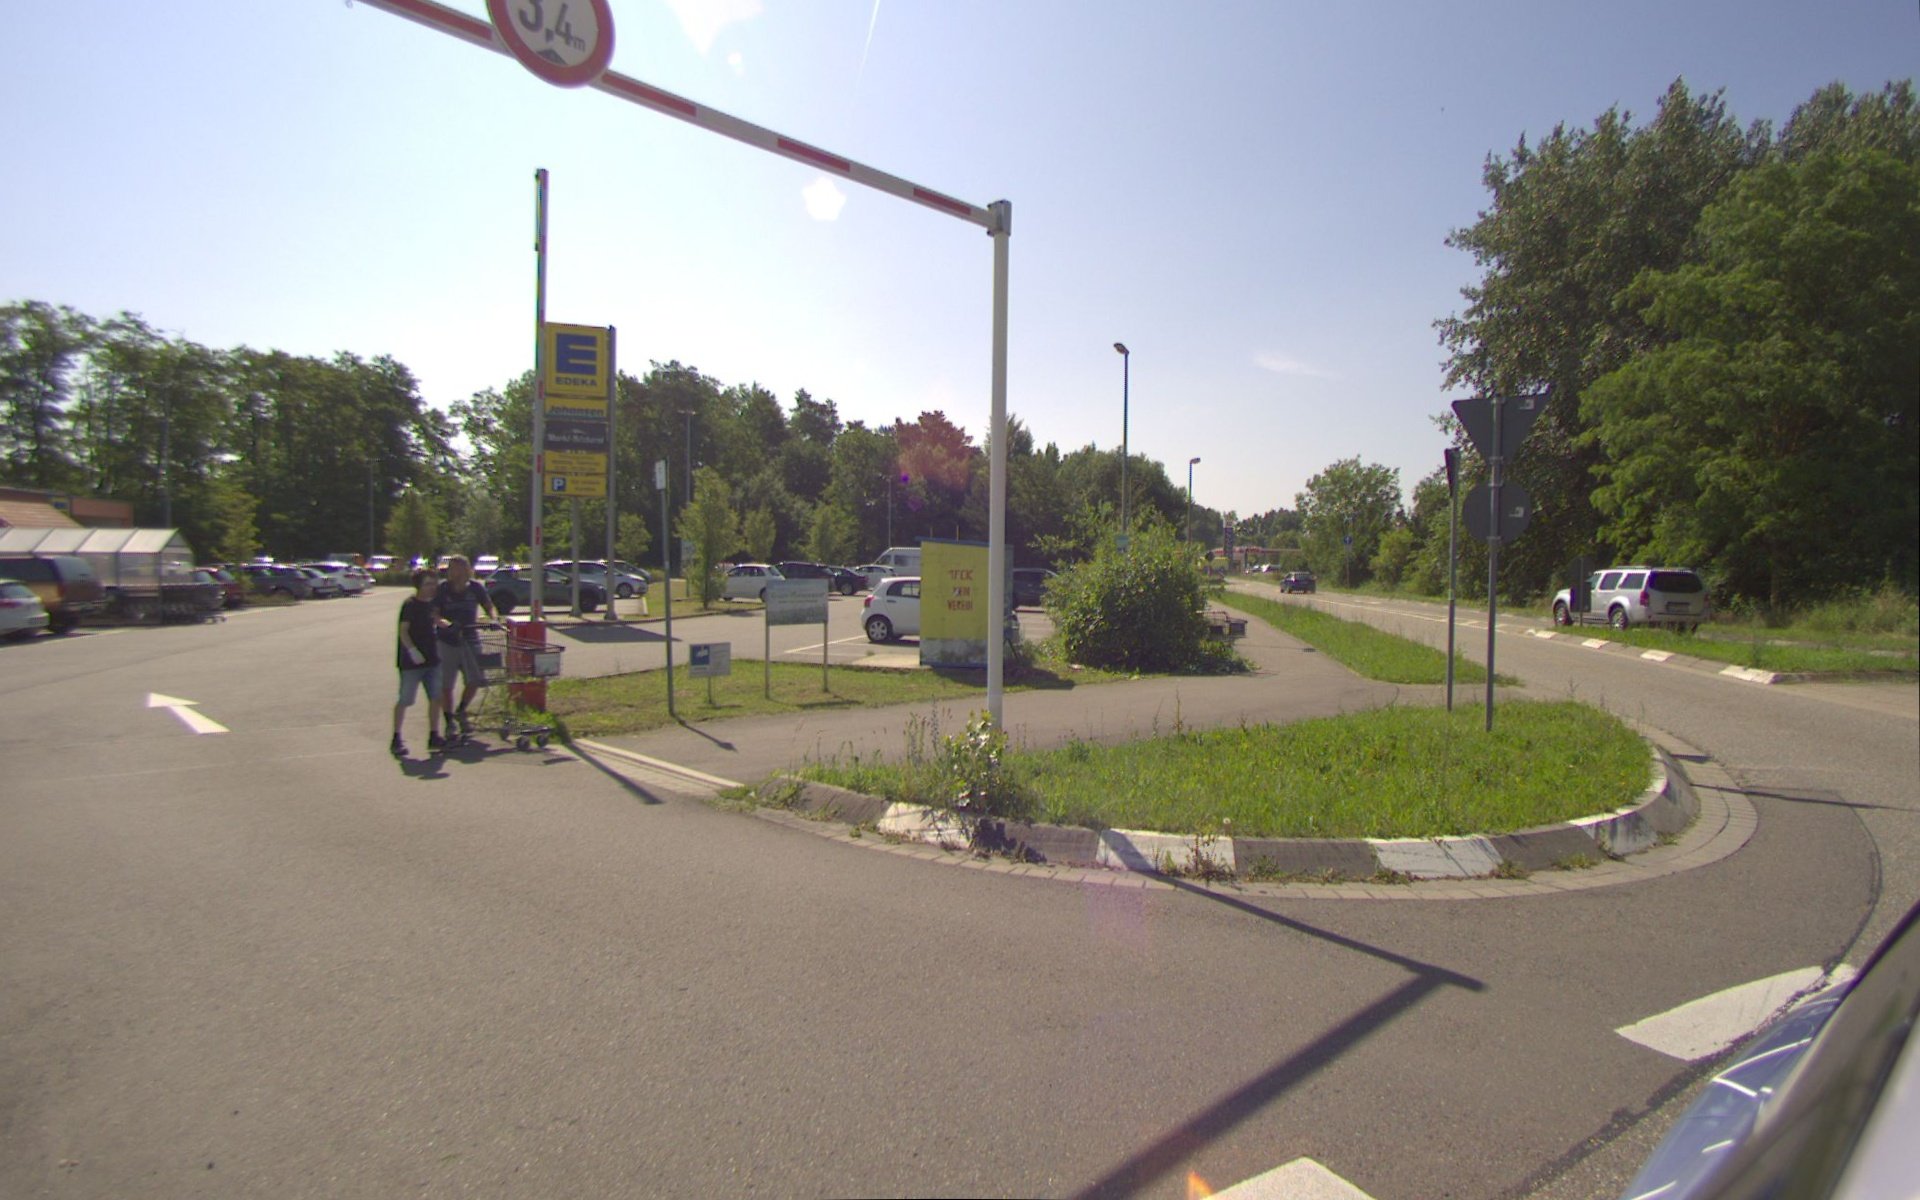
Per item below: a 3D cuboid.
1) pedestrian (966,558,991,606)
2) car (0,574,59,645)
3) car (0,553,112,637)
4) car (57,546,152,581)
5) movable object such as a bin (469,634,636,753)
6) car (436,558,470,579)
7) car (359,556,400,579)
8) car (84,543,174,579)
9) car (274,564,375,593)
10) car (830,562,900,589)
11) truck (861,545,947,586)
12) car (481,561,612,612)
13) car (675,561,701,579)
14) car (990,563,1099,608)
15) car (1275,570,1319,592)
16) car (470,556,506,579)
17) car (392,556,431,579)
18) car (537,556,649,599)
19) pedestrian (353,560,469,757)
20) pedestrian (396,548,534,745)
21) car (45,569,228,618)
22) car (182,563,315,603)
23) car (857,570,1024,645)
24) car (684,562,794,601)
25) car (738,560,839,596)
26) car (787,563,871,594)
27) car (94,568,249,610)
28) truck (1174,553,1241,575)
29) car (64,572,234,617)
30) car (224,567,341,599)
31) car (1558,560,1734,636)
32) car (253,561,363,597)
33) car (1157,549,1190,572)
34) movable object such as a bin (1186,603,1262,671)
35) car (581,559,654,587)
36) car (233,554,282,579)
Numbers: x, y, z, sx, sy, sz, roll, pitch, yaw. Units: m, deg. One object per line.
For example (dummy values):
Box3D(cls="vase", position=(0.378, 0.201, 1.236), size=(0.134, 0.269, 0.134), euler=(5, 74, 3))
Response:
Box3D(cls="pedestrian", position=(0.726, -0.695, 39.263), size=(0.808, 1.819, 0.864), euler=(1, 1, 10))
Box3D(cls="car", position=(-22.181, 0.193, 22.040), size=(3.420, 1.516, 1.719), euler=(0, 1, -10))
Box3D(cls="car", position=(-23.044, -0.133, 24.449), size=(3.420, 1.953, 1.882), euler=(0, 1, -10))
Box3D(cls="car", position=(-51.687, -2.196, 61.239), size=(3.916, 2.038, 2.004), euler=(0, 1, -14))
Box3D(cls="movable object such as a bin", position=(-3.816, 0.846, 9.529), size=(1.188, 0.967, 0.875), euler=(1, 1, 18))
Box3D(cls="car", position=(-39.882, -2.496, 79.703), size=(1.758, 1.615, 4.271), euler=(0, 2, -18))
Box3D(cls="car", position=(-45.111, -2.537, 78.759), size=(1.902, 1.732, 4.010), euler=(0, 2, -17))
Box3D(cls="car", position=(-53.269, -2.496, 64.947), size=(3.939, 2.274, 2.004), euler=(0, 1, -14))
Box3D(cls="car", position=(-32.237, -1.106, 51.410), size=(3.916, 1.415, 1.895), euler=(-1, 2, -13))
Box3D(cls="car", position=(-5.460, -1.429, 58.477), size=(3.899, 1.471, 1.905), euler=(1, 2, 0))
Box3D(cls="truck", position=(-3.792, -2.377, 69.003), size=(5.524, 2.637, 2.198), euler=(1, 2, 9))
Box3D(cls="car", position=(-13.659, -0.472, 33.534), size=(3.916, 1.608, 1.665), euler=(0, 2, -22))
Box3D(cls="car", position=(-23.133, -2.536, 86.136), size=(2.028, 1.504, 4.009), euler=(0, 2, -16))
Box3D(cls="car", position=(3.272, -0.581, 38.882), size=(4.065, 1.647, 1.748), euler=(0, 1, 9))
Box3D(cls="car", position=(22.524, -1.286, 67.761), size=(1.807, 1.404, 4.418), euler=(1, 2, 6))
Box3D(cls="car", position=(-37.593, -2.569, 80.730), size=(2.028, 1.732, 4.009), euler=(0, 1, -16))
Box3D(cls="car", position=(-42.927, -2.545, 79.280), size=(1.902, 1.732, 4.010), euler=(0, 2, -17))
Box3D(cls="car", position=(-16.048, -1.011, 44.452), size=(4.465, 1.723, 2.005), euler=(-2, 2, -17))
Box3D(cls="pedestrian", position=(-4.869, 0.486, 9.011), size=(0.588, 1.668, 0.700), euler=(1, 1, 16))
Box3D(cls="pedestrian", position=(-4.790, 0.410, 9.835), size=(0.831, 1.807, 0.876), euler=(1, 1, 17))
Box3D(cls="car", position=(-25.215, -0.227, 31.159), size=(3.916, 1.437, 1.987), euler=(-1, 1, -17))
Box3D(cls="car", position=(-28.218, -0.693, 40.279), size=(3.916, 1.504, 1.973), euler=(0, 1, -19))
Box3D(cls="car", position=(-0.419, 0.130, 23.595), size=(3.552, 1.581, 1.807), euler=(2, 2, 14))
Box3D(cls="car", position=(-8.695, -0.762, 39.980), size=(3.935, 1.460, 1.647), euler=(1, 2, 10))
Box3D(cls="car", position=(-7.617, -0.993, 45.209), size=(4.095, 1.593, 1.997), euler=(0, 2, 7))
Box3D(cls="car", position=(-6.500, -1.084, 50.370), size=(3.927, 1.445, 1.748), euler=(1, 2, 3))
Box3D(cls="car", position=(-27.663, -0.427, 35.641), size=(3.916, 1.415, 1.719), euler=(-1, 2, -18))
Box3D(cls="truck", position=(40.400, -5.925, 165.551), size=(10.164, 3.435, 3.878), euler=(1, 2, 7))
Box3D(cls="car", position=(-26.659, -0.214, 33.421), size=(3.916, 1.393, 2.005), euler=(-1, 2, -19))
Box3D(cls="car", position=(-30.395, -0.772, 45.535), size=(3.916, 1.371, 2.004), euler=(0, 2, -12))
Box3D(cls="car", position=(18.193, -0.125, 27.160), size=(1.866, 1.838, 4.591), euler=(1, 2, 5))
Box3D(cls="car", position=(-30.799, -1.009, 47.948), size=(3.917, 1.682, 2.004), euler=(0, 1, -11))
Box3D(cls="car", position=(26.638, -4.879, 126.497), size=(2.624, 2.846, 5.157), euler=(0, 1, -4))
Box3D(cls="movable object such as a bin", position=(4.853, 0.656, 18.570), size=(0.866, 1.134, 1.436), euler=(1, 2, 37))
Box3D(cls="car", position=(-20.309, -1.629, 60.181), size=(3.916, 1.604, 1.975), euler=(0, 2, -12))
Box3D(cls="car", position=(-52.836, -2.509, 76.208), size=(1.902, 1.822, 4.010), euler=(0, 2, -17))
